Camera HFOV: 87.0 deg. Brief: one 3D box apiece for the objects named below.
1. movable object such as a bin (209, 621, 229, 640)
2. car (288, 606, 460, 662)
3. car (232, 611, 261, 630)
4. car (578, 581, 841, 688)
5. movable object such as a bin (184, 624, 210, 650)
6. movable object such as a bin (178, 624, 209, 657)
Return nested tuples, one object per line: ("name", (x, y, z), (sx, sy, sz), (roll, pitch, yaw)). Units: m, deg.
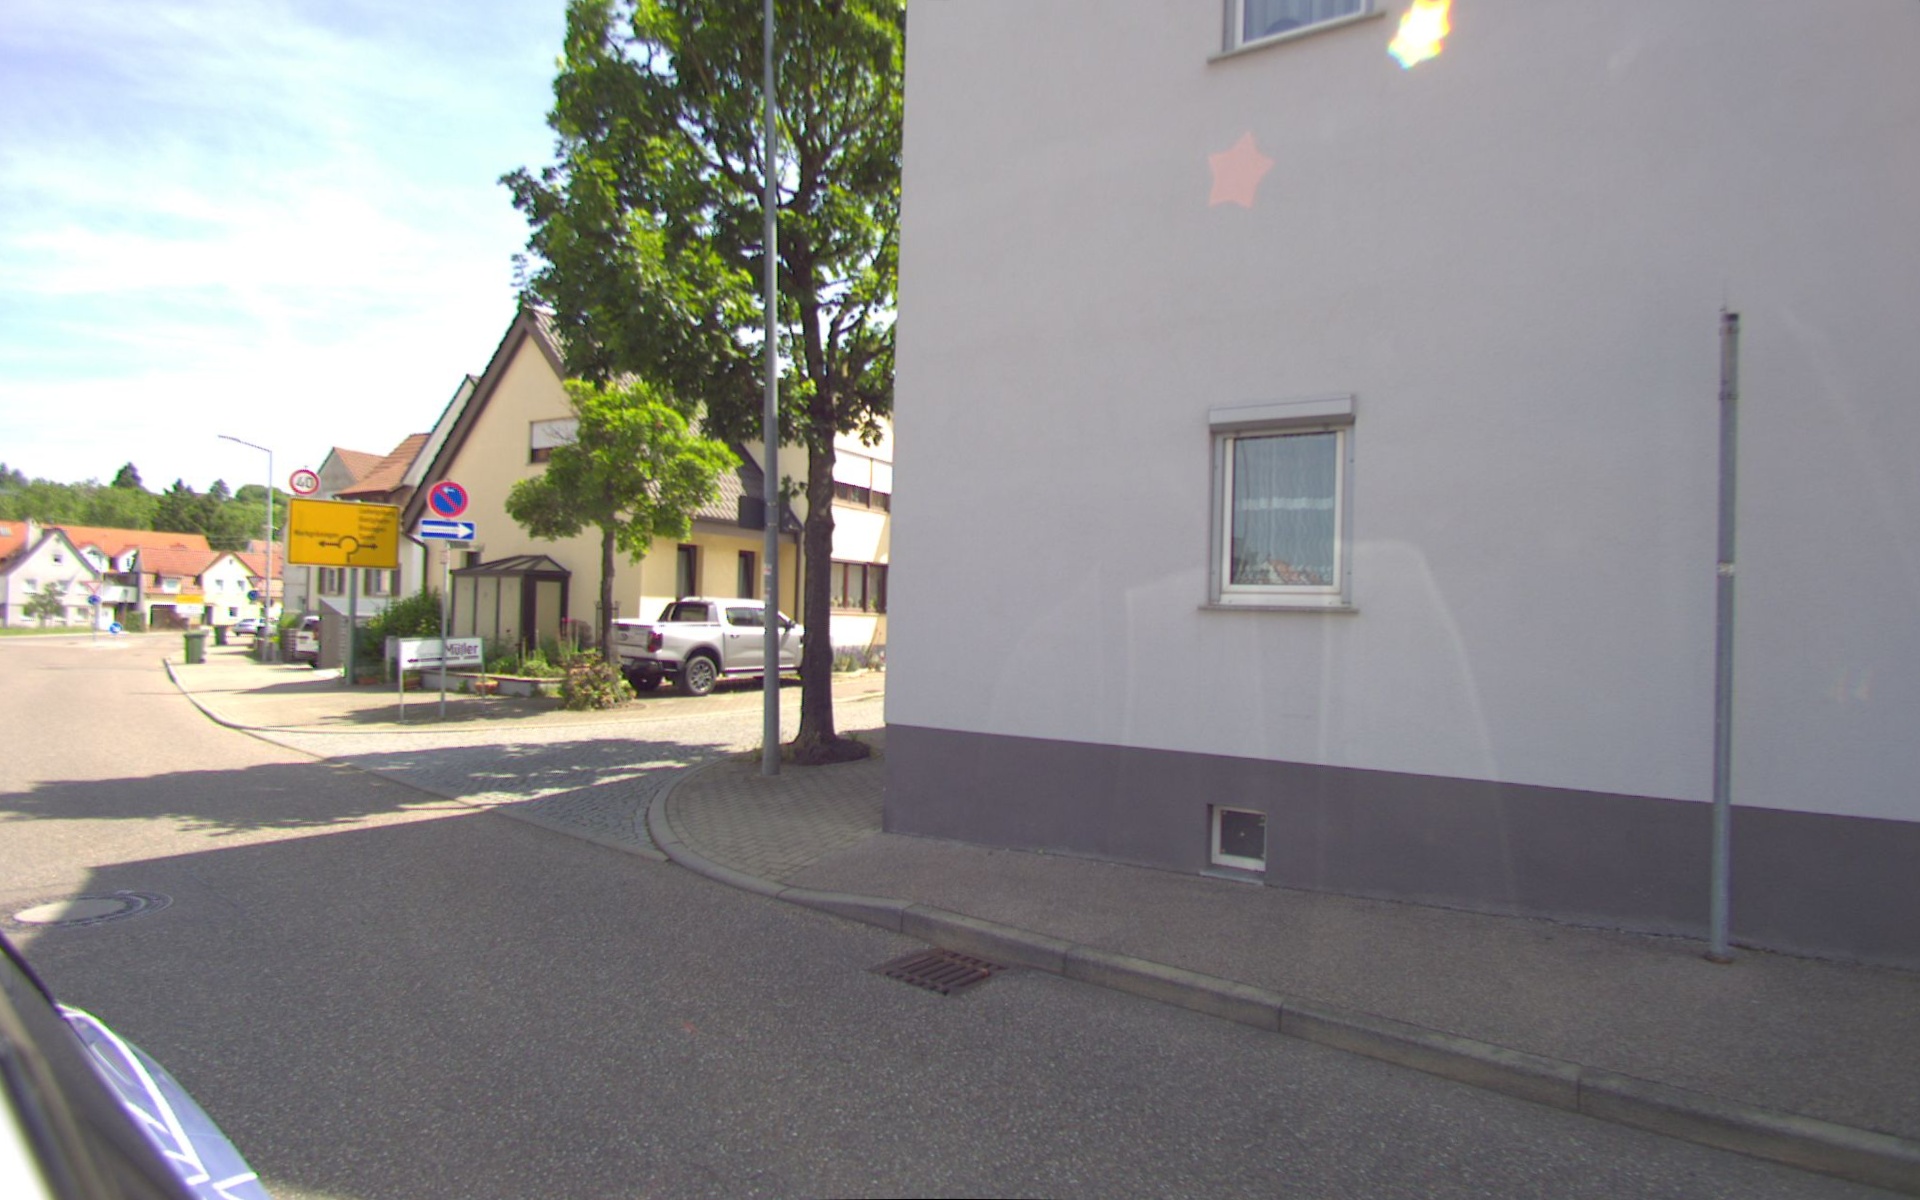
("movable object such as a bin", (-41.818, 1.696, 57.091), (0.797, 1.053, 0.829), (1, -1, -29))
("car", (-18.728, 1.052, 32.504), (1.998, 1.635, 4.359), (0, -1, 38))
("car", (-59.478, 1.711, 84.403), (1.929, 1.497, 4.470), (2, -1, -35))
("car", (-4.966, 0.679, 20.826), (2.171, 1.911, 5.059), (0, -2, 36))
("movable object such as a bin", (-32.502, 1.576, 43.118), (0.782, 1.065, 0.652), (2, -2, -42))
("movable object such as a bin", (-25.974, 1.363, 34.305), (0.815, 1.085, 0.820), (1, -1, -38))
